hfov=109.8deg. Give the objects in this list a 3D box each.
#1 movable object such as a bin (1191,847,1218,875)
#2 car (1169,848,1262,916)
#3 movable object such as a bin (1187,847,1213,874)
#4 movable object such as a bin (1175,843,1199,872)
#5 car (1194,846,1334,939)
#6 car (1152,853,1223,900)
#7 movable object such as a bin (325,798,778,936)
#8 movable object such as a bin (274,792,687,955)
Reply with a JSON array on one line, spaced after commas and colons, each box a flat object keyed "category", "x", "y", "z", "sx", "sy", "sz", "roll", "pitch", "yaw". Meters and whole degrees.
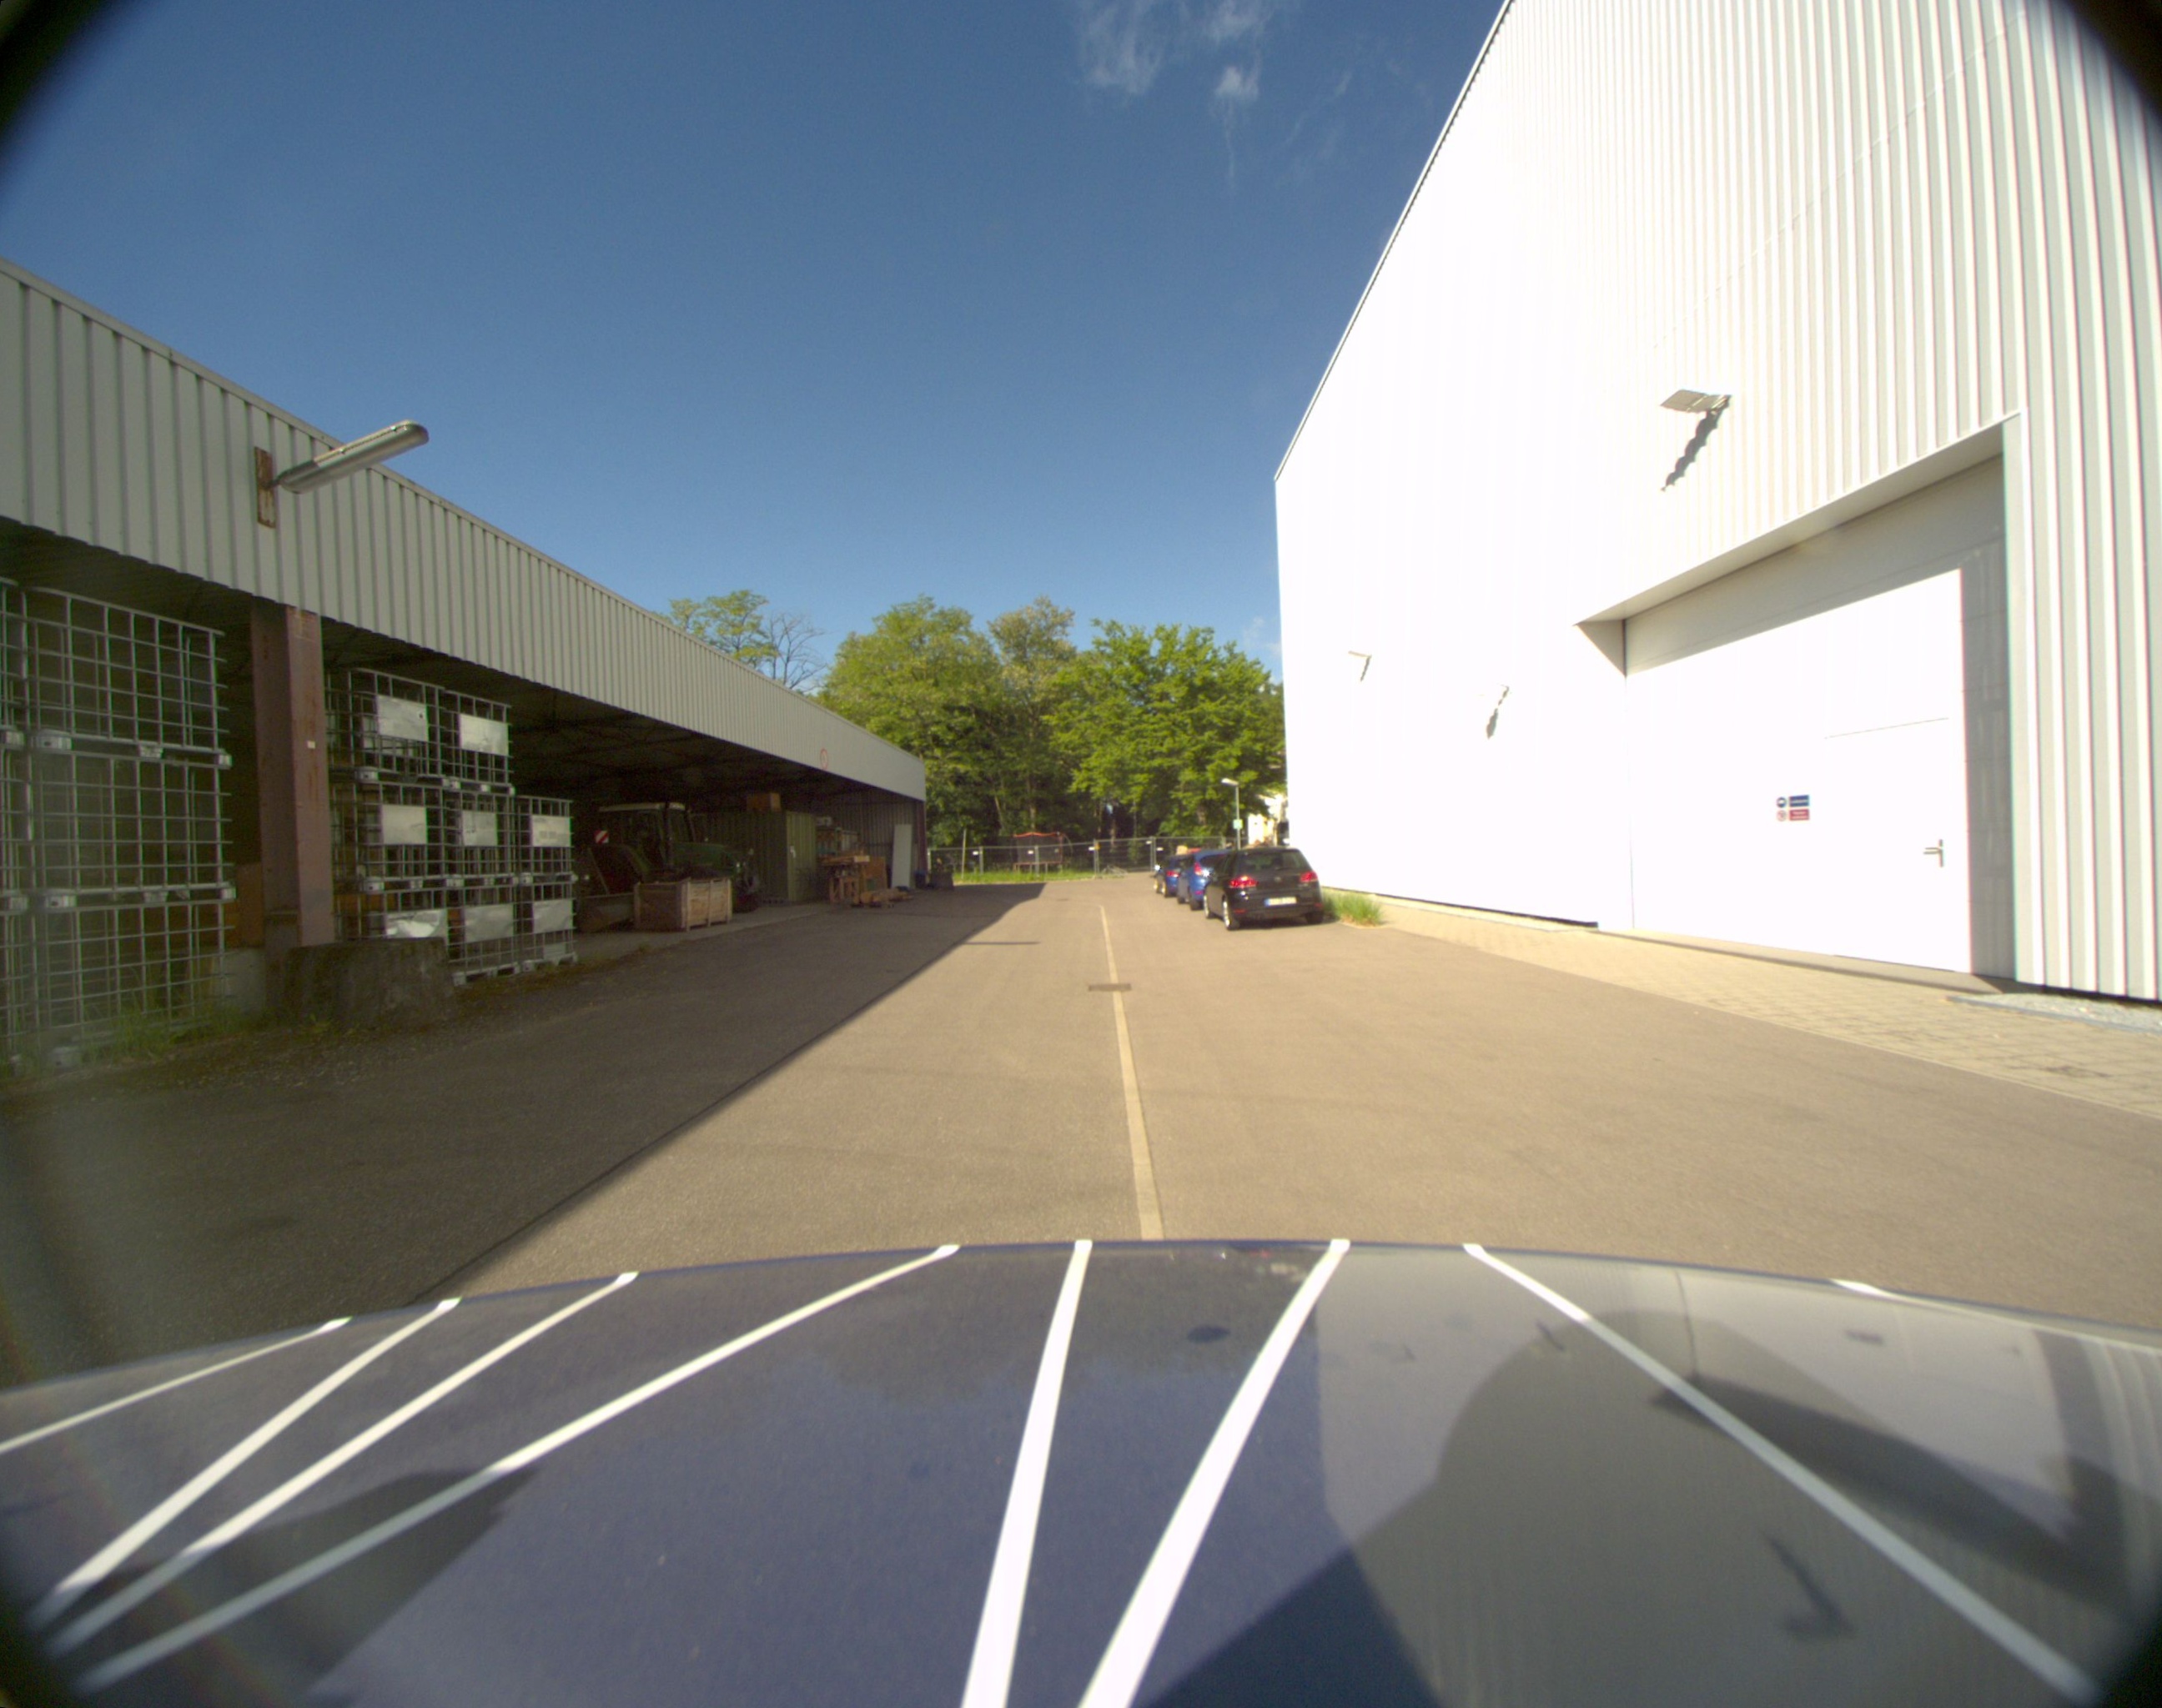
[{"category": "movable object such as a bin", "x": 6.647, "y": 0.379, "z": 40.993, "sx": 1.093, "sy": 1.424, "sz": 1.230, "roll": -4, "pitch": 2, "yaw": -5}, {"category": "car", "x": 3.436, "y": 0.663, "z": 20.098, "sx": 1.635, "sy": 1.491, "sz": 4.094, "roll": -5, "pitch": 0, "yaw": 0}, {"category": "movable object such as a bin", "x": 6.624, "y": 0.337, "z": 42.326, "sx": 1.093, "sy": 1.431, "sz": 1.230, "roll": -4, "pitch": 2, "yaw": -5}, {"category": "movable object such as a bin", "x": 6.169, "y": 0.197, "z": 44.225, "sx": 1.093, "sy": 1.588, "sz": 1.230, "roll": -3, "pitch": 3, "yaw": -5}, {"category": "car", "x": 3.461, "y": 0.645, "z": 15.201, "sx": 1.759, "sy": 1.491, "sz": 4.294, "roll": -4, "pitch": 0, "yaw": 1}, {"category": "car", "x": 3.474, "y": 0.684, "z": 25.546, "sx": 1.778, "sy": 1.353, "sz": 4.053, "roll": -3, "pitch": 0, "yaw": 0}, {"category": "movable object such as a bin", "x": -12.988, "y": 0.304, "z": 19.270, "sx": 9.214, "sy": 2.893, "sz": 3.212, "roll": -2, "pitch": 1, "yaw": 2}, {"category": "movable object such as a bin", "x": -12.227, "y": 0.365, "z": 15.954, "sx": 6.200, "sy": 2.893, "sz": 3.016, "roll": -2, "pitch": 1, "yaw": 2}]
